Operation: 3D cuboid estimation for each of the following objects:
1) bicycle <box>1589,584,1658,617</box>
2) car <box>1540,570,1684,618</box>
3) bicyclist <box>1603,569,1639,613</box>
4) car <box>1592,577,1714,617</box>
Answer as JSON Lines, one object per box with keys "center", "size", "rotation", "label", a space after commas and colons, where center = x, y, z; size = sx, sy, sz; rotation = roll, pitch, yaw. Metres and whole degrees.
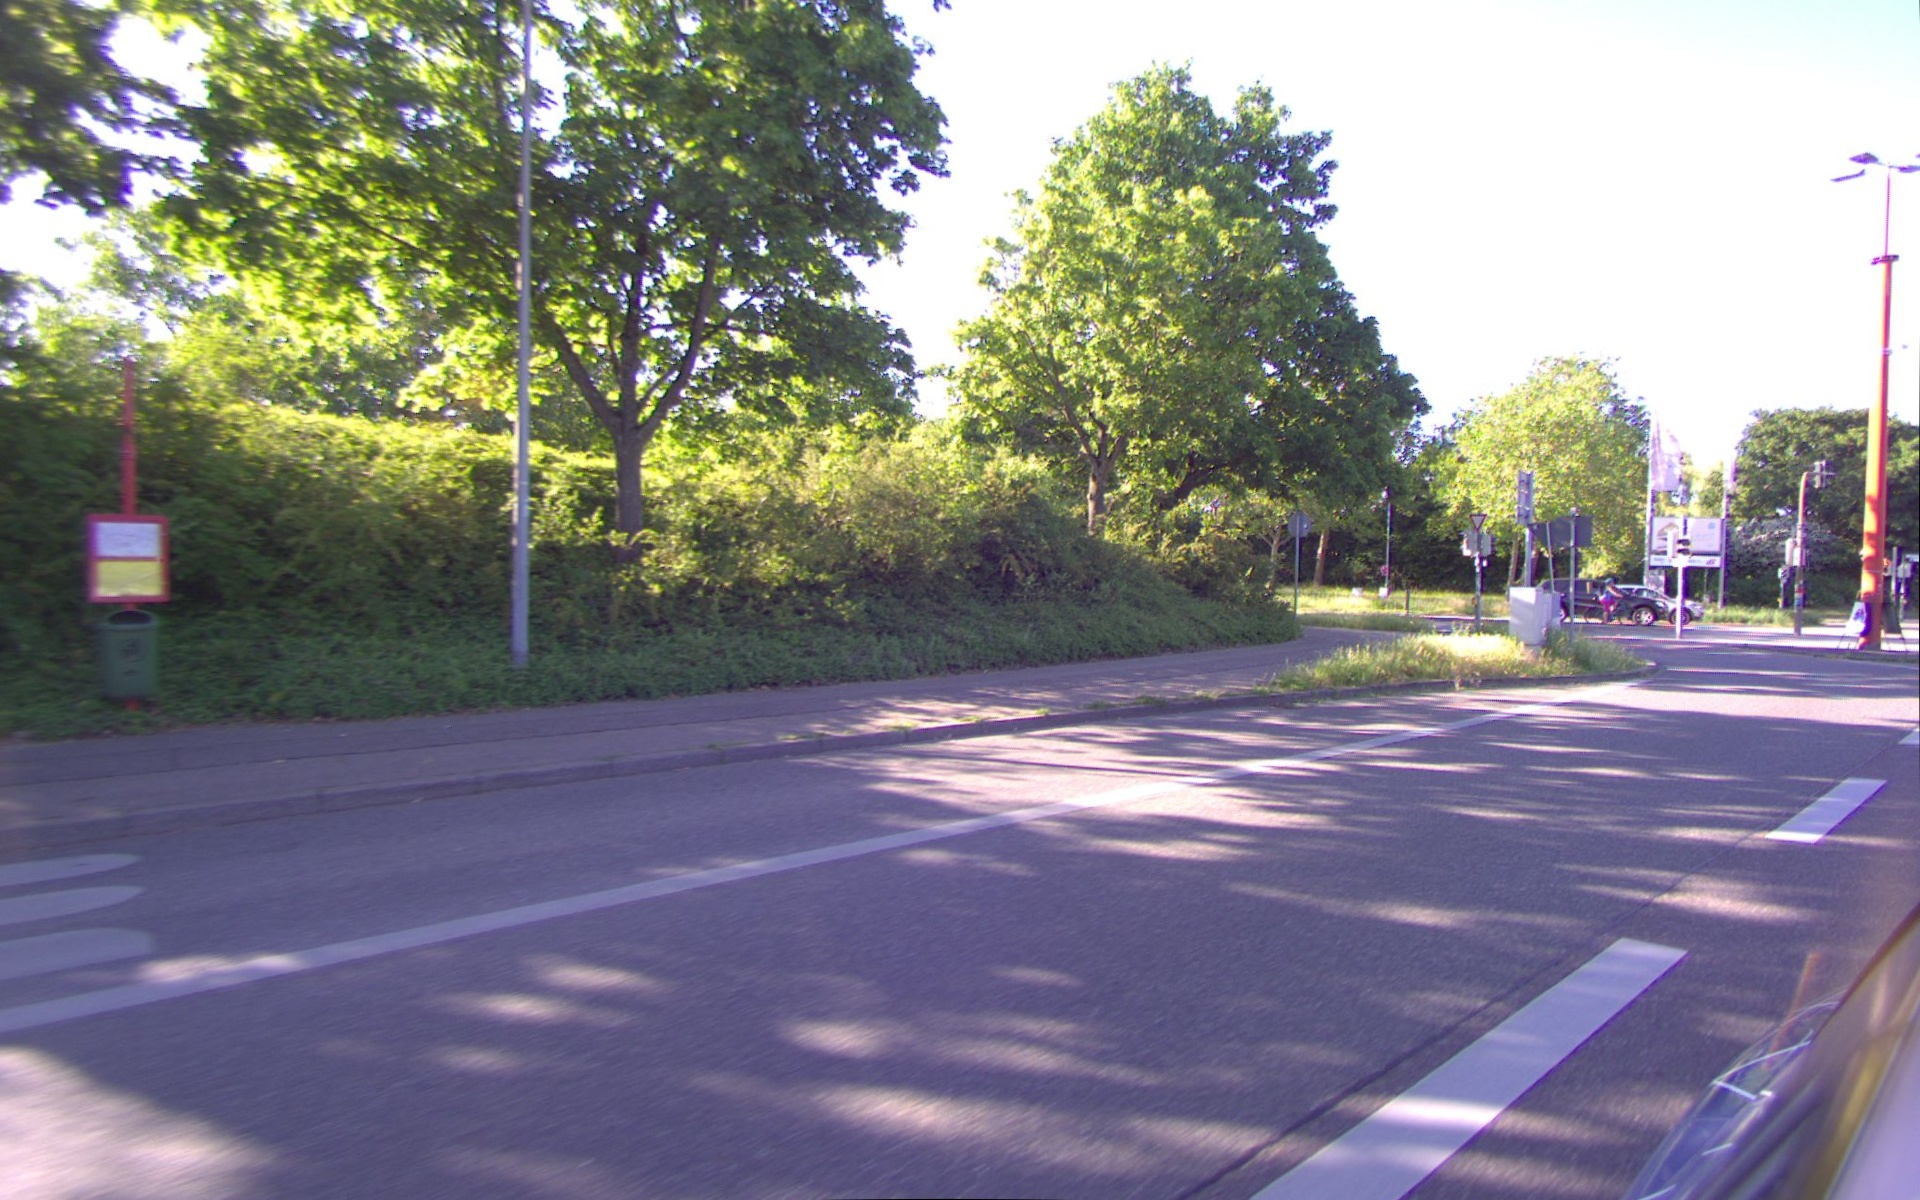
{"center": [24.056, 0.013, 36.711], "size": [2.006, 1.105, 0.755], "rotation": [3, 2, 40], "label": "bicycle"}
{"center": [25.531, -0.275, 39.798], "size": [4.618, 1.748, 1.887], "rotation": [1, 1, 33], "label": "car"}
{"center": [23.997, -0.337, 36.752], "size": [0.976, 1.577, 0.751], "rotation": [2, 2, 39], "label": "bicyclist"}
{"center": [28.773, -0.171, 42.169], "size": [4.059, 1.558, 1.754], "rotation": [1, 1, 32], "label": "car"}
